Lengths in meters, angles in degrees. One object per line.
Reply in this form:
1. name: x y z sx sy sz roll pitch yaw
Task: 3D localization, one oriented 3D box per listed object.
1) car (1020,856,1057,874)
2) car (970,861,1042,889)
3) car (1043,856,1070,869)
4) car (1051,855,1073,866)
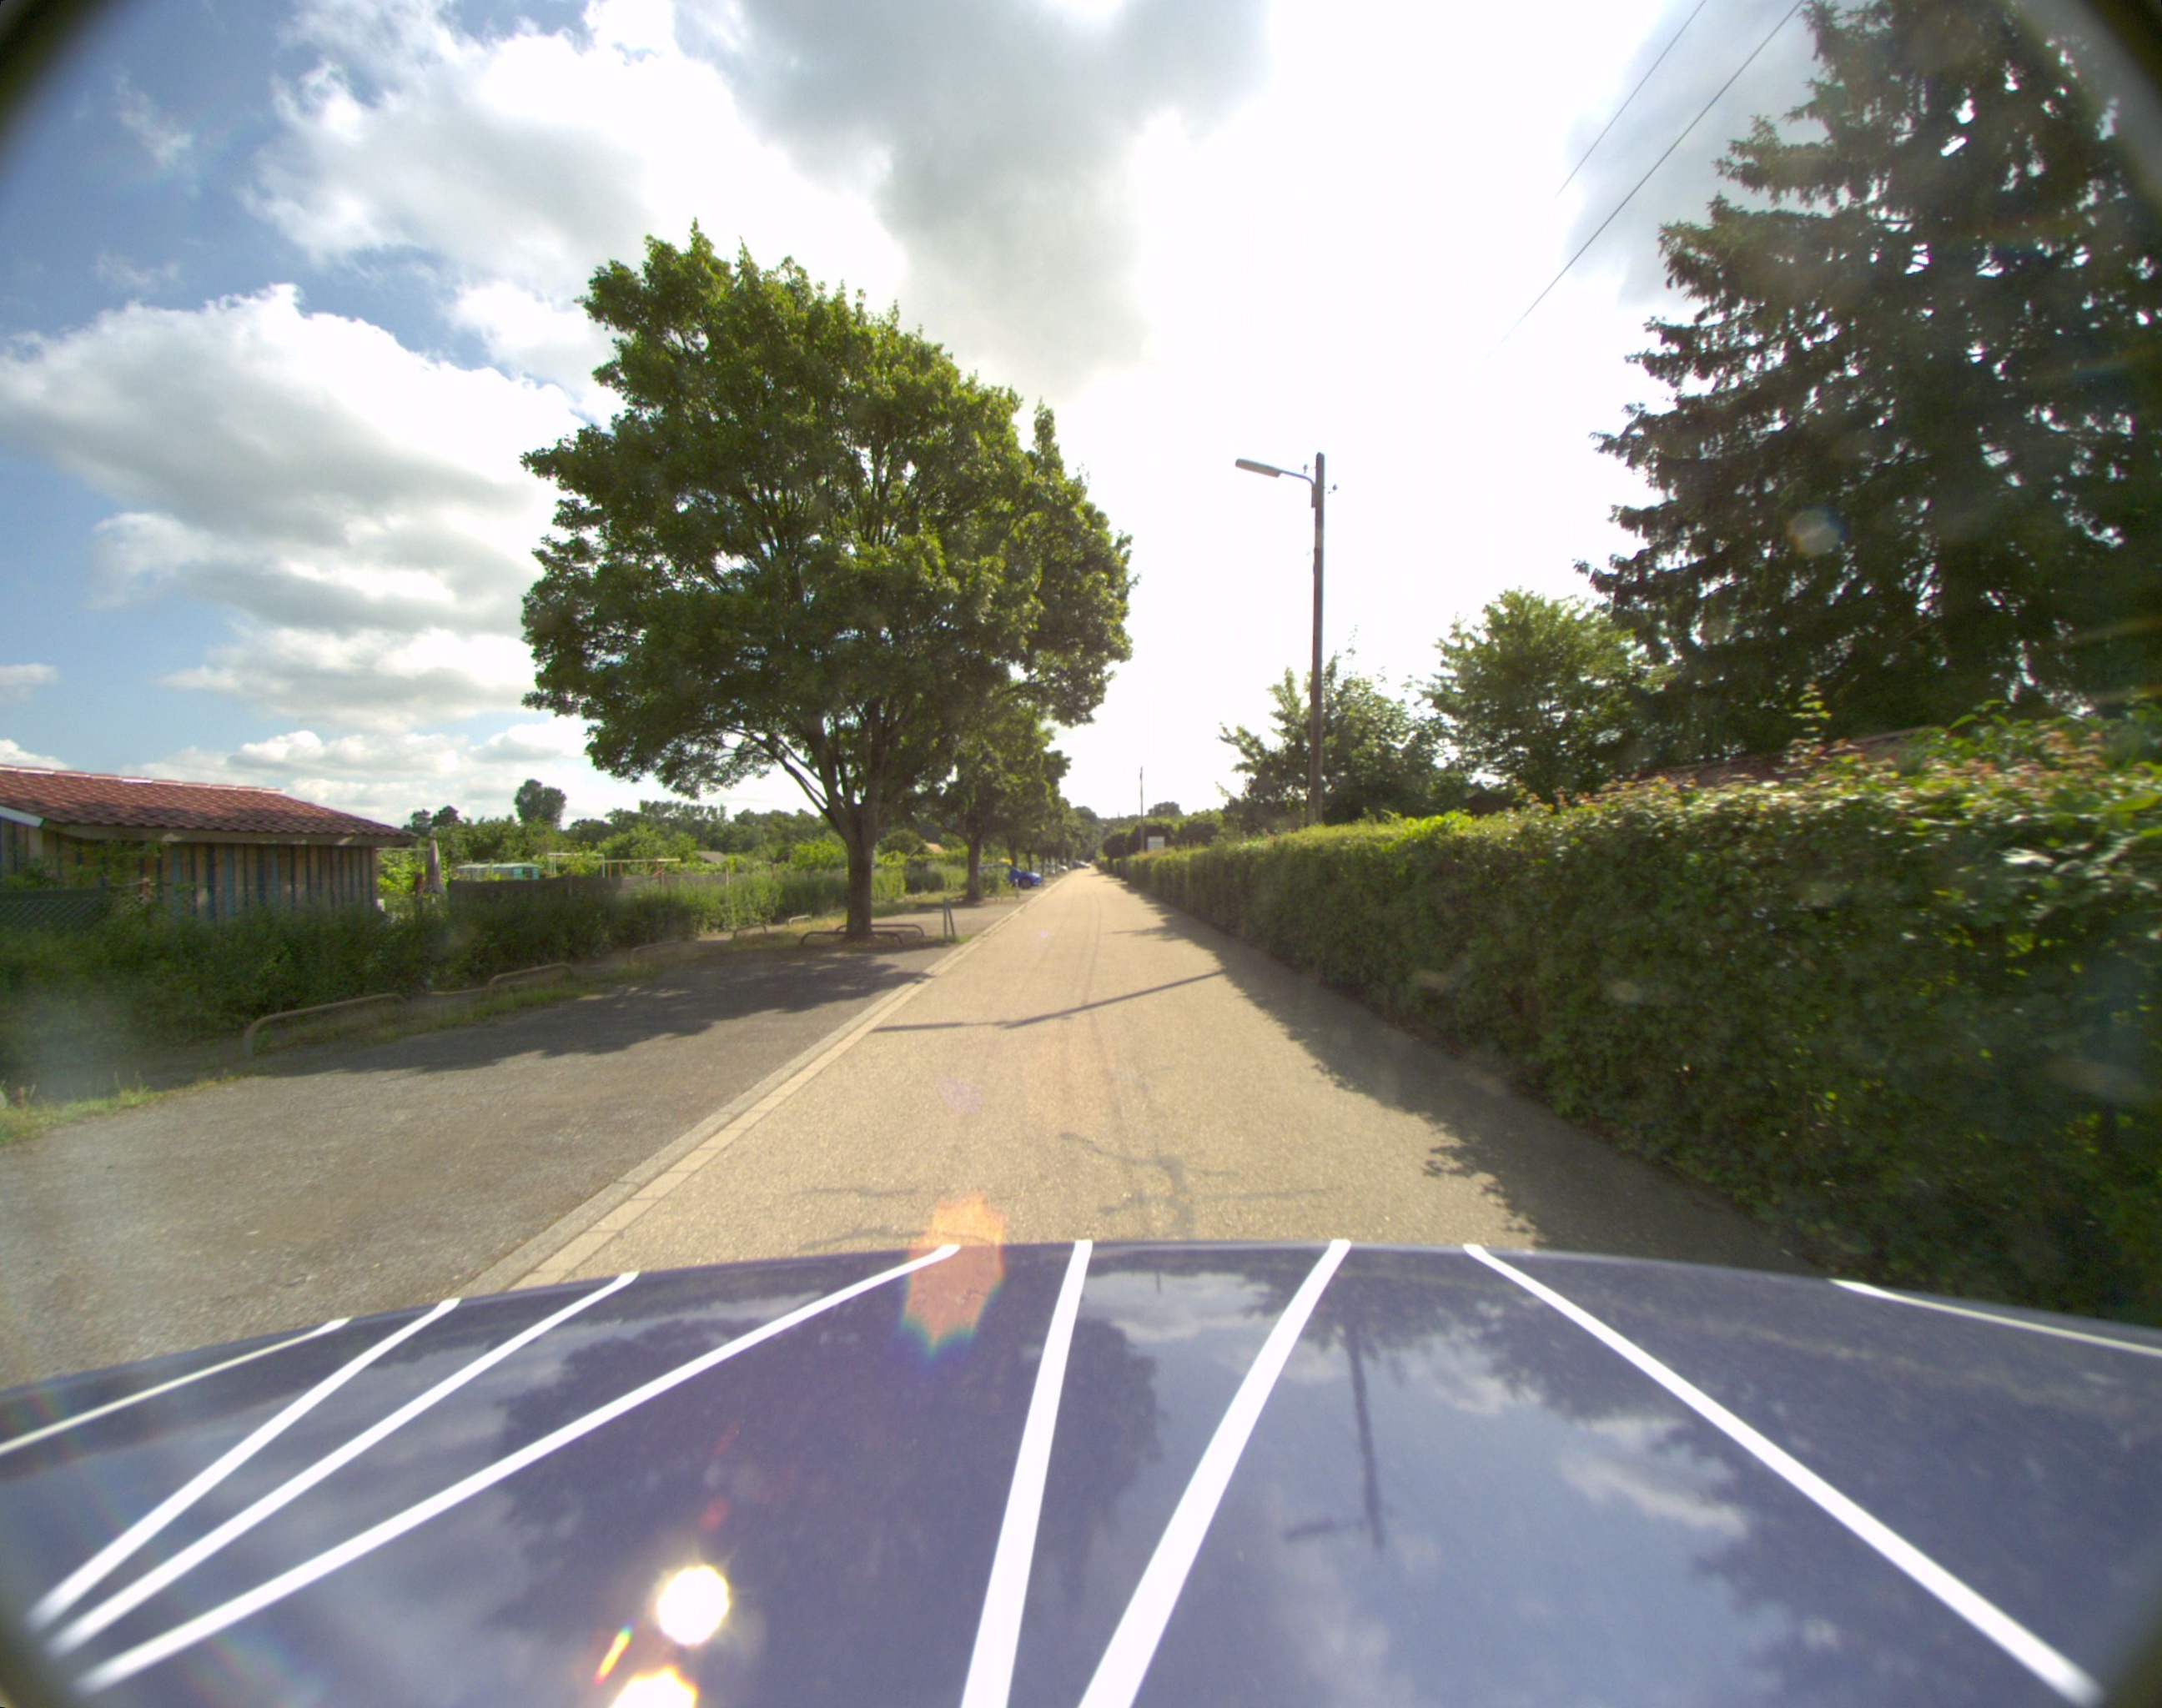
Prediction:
1. car: -4.729 1.238 85.421 3.929 1.740 2.000 -3 1 0
2. car: -4.445 1.241 45.415 4.116 1.573 1.781 -1 0 -1
3. car: -3.612 1.317 114.029 3.929 1.740 2.000 -3 1 0
4. car: -3.495 1.139 142.185 3.998 1.824 1.999 -3 1 -3
